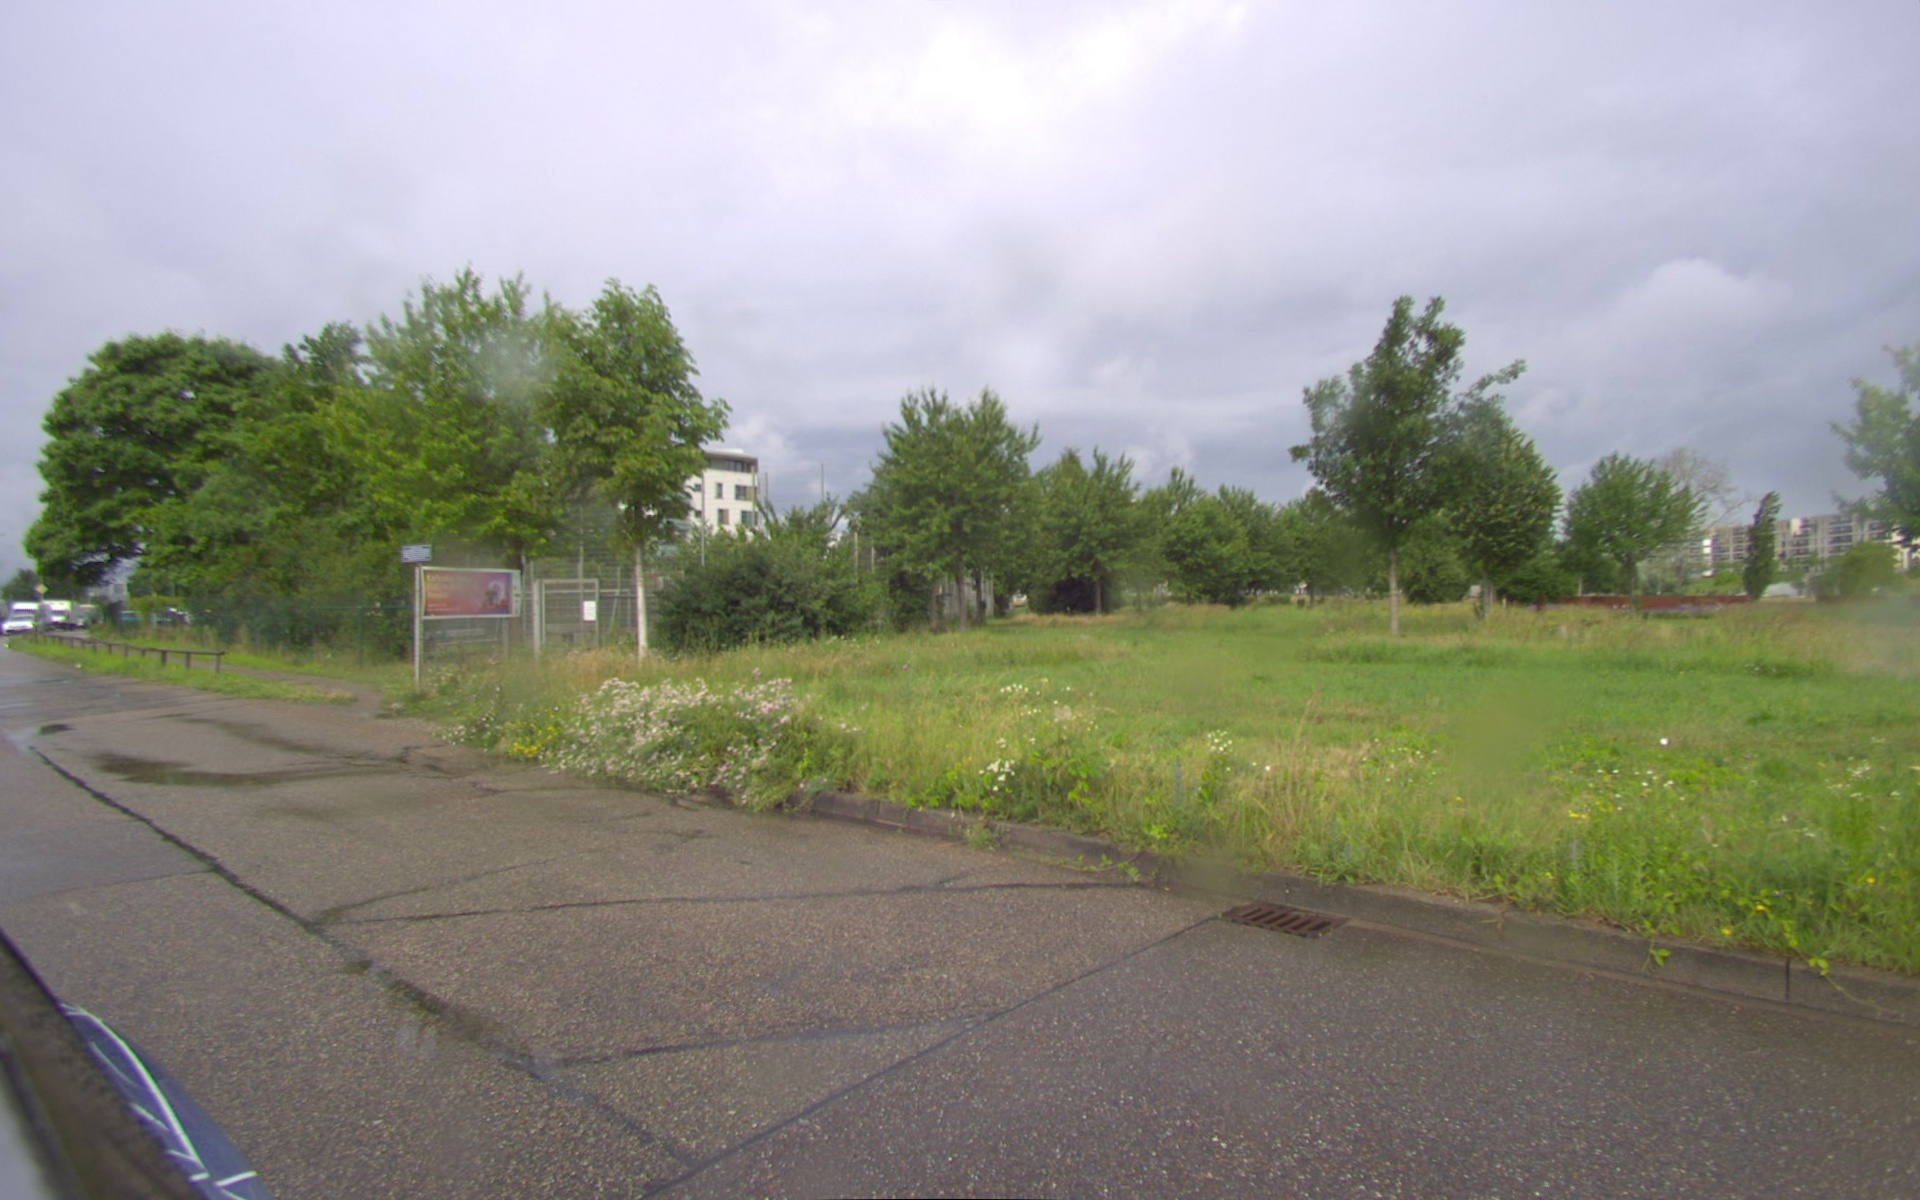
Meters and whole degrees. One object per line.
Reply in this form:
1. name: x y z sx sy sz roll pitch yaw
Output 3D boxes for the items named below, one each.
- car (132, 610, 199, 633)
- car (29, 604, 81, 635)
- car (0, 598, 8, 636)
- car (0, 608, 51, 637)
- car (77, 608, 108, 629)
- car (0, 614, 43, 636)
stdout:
1. car: -64.949 1.738 82.775 4.117 1.561 1.865 -4 2 -34
2. car: -88.685 1.896 99.270 2.436 2.978 6.907 1 -1 -30
3. car: -74.147 1.243 76.581 2.115 2.905 5.290 3 -2 -34
4. car: -83.294 2.016 90.231 2.040 2.548 6.676 1 -2 -32
5. car: -97.799 2.107 114.126 1.966 2.258 4.576 0 -1 -33
6. car: -69.877 1.847 75.274 1.812 1.530 4.369 0 0 -33
